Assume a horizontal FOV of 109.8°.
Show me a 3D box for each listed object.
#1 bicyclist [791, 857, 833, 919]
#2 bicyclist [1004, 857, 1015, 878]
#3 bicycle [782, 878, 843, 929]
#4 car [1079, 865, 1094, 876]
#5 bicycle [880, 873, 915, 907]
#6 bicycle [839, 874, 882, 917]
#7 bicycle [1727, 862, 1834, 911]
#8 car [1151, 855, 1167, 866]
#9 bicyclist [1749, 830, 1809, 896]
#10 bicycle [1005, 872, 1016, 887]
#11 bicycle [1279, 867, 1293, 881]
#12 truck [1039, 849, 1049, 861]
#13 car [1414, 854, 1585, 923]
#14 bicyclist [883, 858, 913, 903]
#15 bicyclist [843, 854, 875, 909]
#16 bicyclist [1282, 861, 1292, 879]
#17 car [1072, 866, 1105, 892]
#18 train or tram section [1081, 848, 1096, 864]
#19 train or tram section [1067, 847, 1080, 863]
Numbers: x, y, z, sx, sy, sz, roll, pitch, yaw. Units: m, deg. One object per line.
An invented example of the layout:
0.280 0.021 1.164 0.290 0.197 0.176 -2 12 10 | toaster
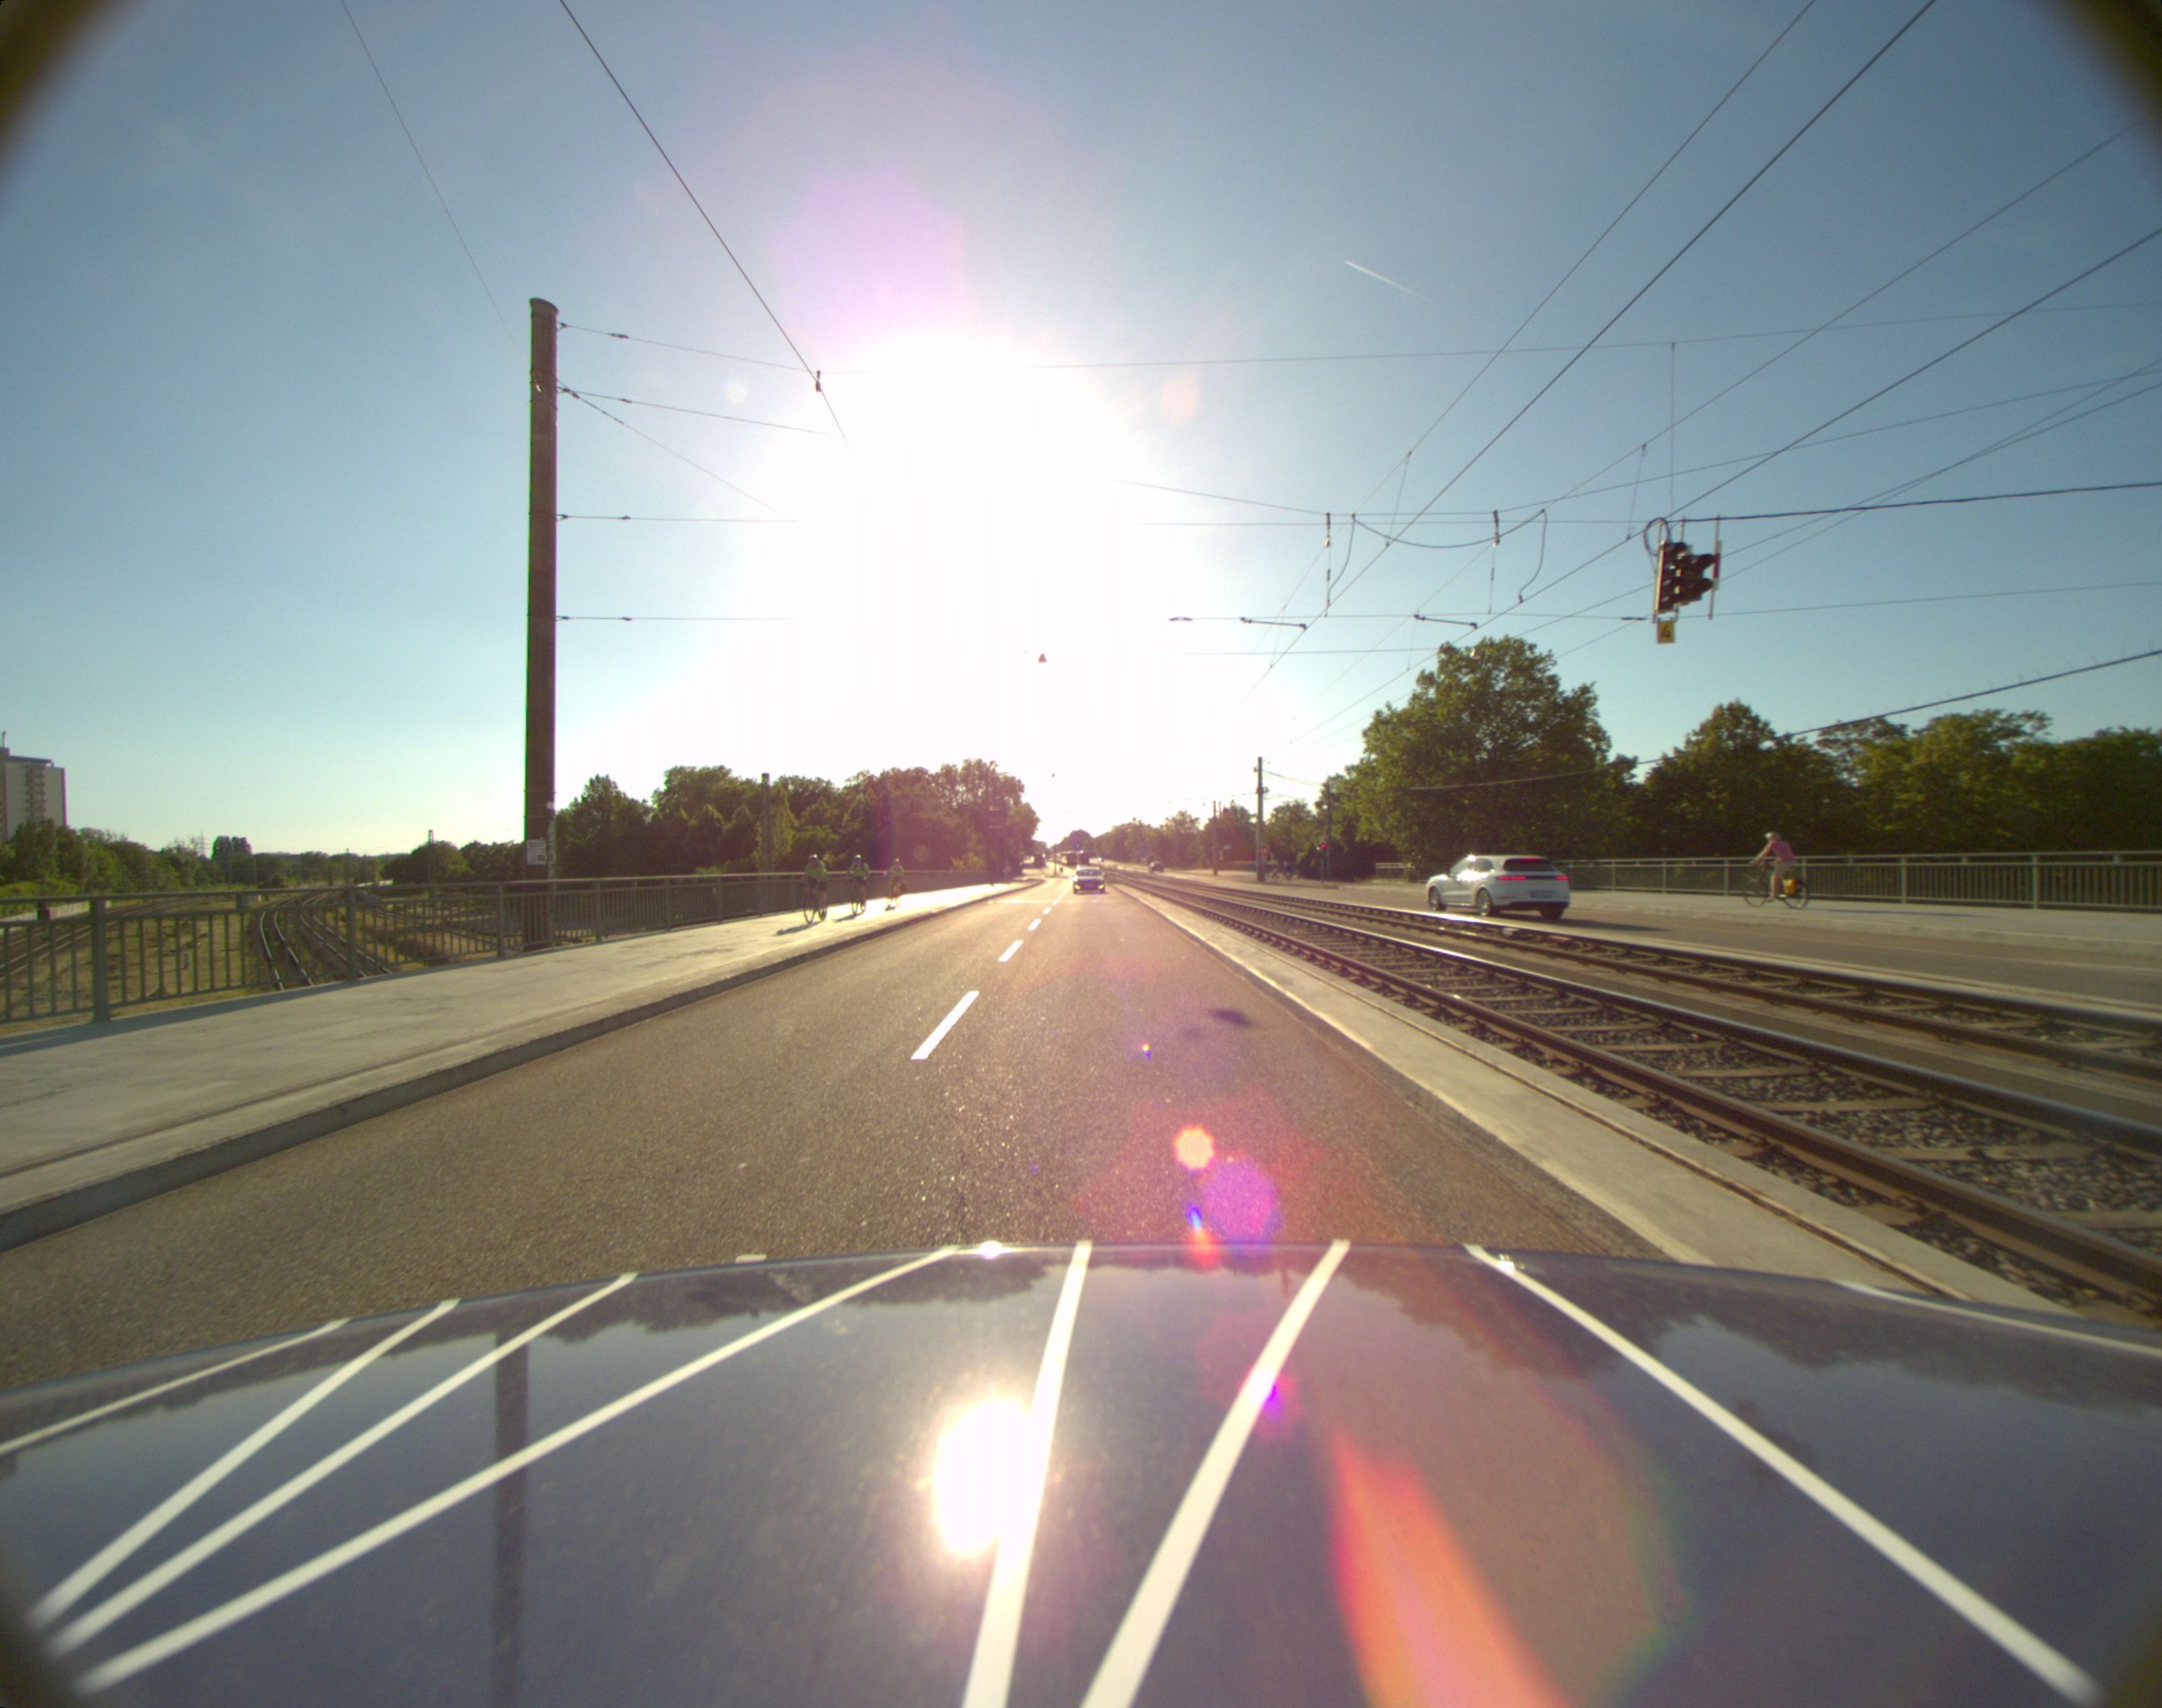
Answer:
-6.694 0.828 18.956 0.626 1.499 1.006 -2 0 1 | bicyclist
-6.013 1.116 64.150 0.733 1.679 1.202 -4 0 -3 | bicyclist
-6.672 1.206 19.000 0.626 1.116 2.260 -2 0 2 | bicycle
0.706 2.144 98.025 1.802 1.345 4.000 0 0 0 | car
-6.470 1.265 26.926 0.685 1.116 2.216 -2 -1 0 | bicycle
-6.512 1.201 22.522 0.626 1.116 2.042 -2 0 0 | bicycle
17.675 0.790 19.283 0.627 1.116 2.259 -2 0 0 | bicycle
11.164 0.898 109.287 1.853 1.493 4.219 -2 0 0 | car
17.658 0.227 19.245 0.627 1.624 0.935 -2 1 0 | bicyclist
-5.931 2.130 64.137 0.733 1.116 2.741 -4 0 -3 | bicycle
17.468 1.690 64.654 0.626 1.116 2.260 -2 0 2 | bicycle
-10.283 0.366 208.502 2.611 3.186 7.867 -1 0 -4 | truck
11.454 0.854 21.305 2.006 1.627 5.090 -2 0 0 | car
-6.470 0.922 26.946 0.814 1.553 0.896 -2 -1 0 | bicyclist
-6.560 0.800 22.498 0.626 1.583 0.931 -2 1 0 | bicyclist
17.447 1.342 64.439 0.626 1.424 0.969 -2 1 2 | bicyclist
0.409 1.424 43.544 1.802 1.345 4.000 0 0 0 | car
1.908 0.487 198.198 2.986 3.878 12.696 -1 0 -3 | train or tram section
-2.002 0.255 200.734 2.570 3.878 11.666 -1 0 -4 | train or tram section
